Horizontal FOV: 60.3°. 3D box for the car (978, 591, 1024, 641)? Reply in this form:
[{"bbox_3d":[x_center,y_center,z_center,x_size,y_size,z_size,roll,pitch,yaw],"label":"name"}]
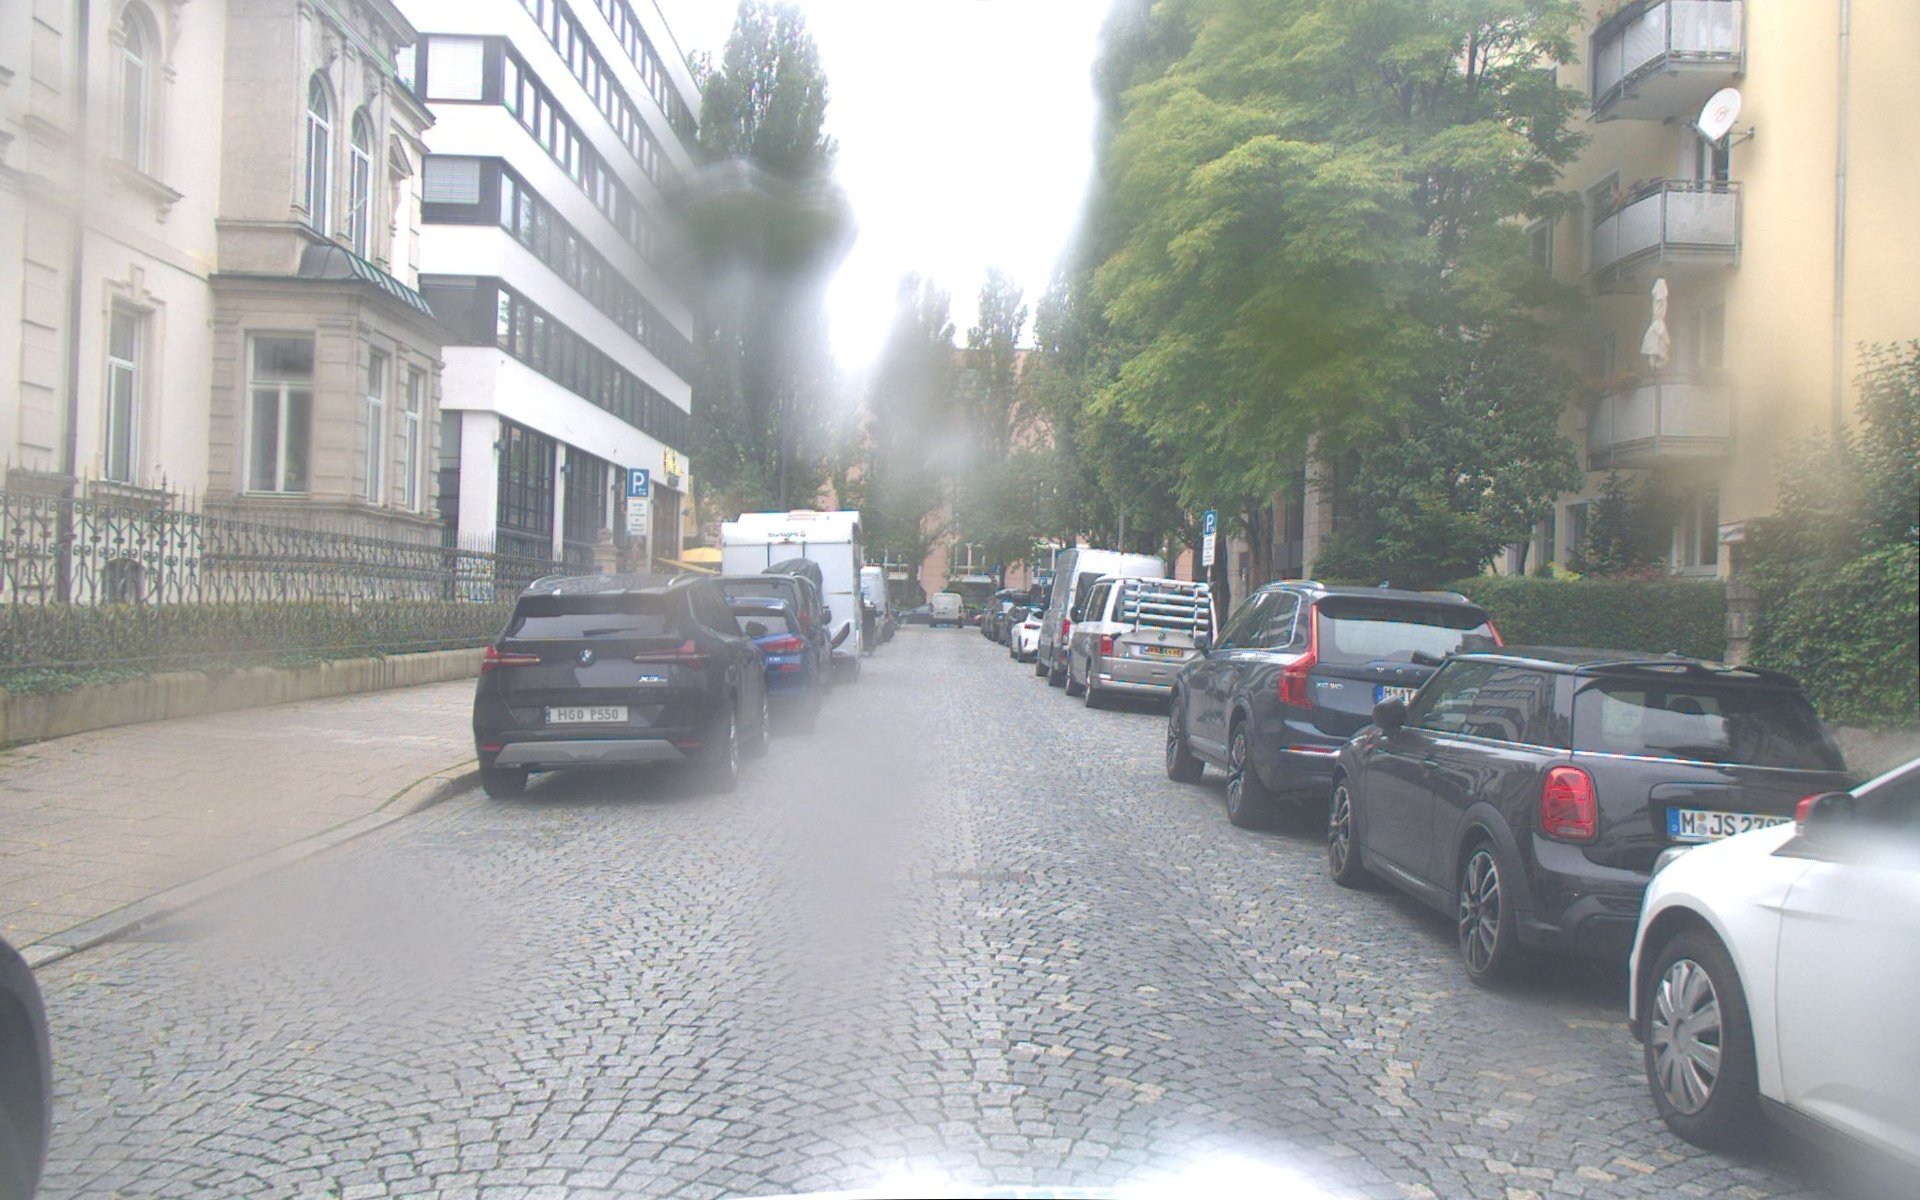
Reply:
[{"bbox_3d":[1.731,0.697,70.769,1.830,1.995,4.000,2,-1,0],"label":"car"}]

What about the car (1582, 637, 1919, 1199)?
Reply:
[{"bbox_3d":[3.168,0.872,3.511,1.739,1.454,4.387,3,-1,-4],"label":"car"}]

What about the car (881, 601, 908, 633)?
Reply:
[{"bbox_3d":[-3.361,0.864,84.978,1.251,1.568,3.118,3,-1,-1],"label":"car"}]

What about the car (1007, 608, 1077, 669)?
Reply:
[{"bbox_3d":[2.155,1.018,44.274,1.567,1.512,3.478,3,-1,-1],"label":"car"}]

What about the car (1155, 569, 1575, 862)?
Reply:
[{"bbox_3d":[2.881,0.770,13.029,1.923,1.789,4.952,3,-1,-1],"label":"car"}]

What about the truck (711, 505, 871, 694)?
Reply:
[{"bbox_3d":[-2.942,-0.010,30.288,2.458,3.085,6.382,0,0,-2],"label":"truck"}]

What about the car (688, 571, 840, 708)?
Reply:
[{"bbox_3d":[-2.761,0.529,24.148,1.856,1.781,4.166,1,0,-3],"label":"car"}]

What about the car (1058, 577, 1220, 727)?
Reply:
[{"bbox_3d":[2.697,0.767,25.981,1.764,1.983,4.858,5,-1,-1],"label":"car"}]

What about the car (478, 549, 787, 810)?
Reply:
[{"bbox_3d":[-2.518,0.583,13.768,1.738,1.748,4.389,3,-1,-2],"label":"car"}]

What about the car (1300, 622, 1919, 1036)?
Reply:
[{"bbox_3d":[3.034,0.913,8.330,1.649,1.478,3.964,4,-1,-1],"label":"car"}]

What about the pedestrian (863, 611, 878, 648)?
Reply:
[{"bbox_3d":[-4.799,1.554,88.596,0.710,1.944,0.641,2,-1,1],"label":"pedestrian"}]

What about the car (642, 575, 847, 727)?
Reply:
[{"bbox_3d":[-2.361,0.550,19.140,1.901,1.485,4.056,3,-1,-2],"label":"car"}]

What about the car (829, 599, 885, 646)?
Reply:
[{"bbox_3d":[-3.426,0.752,55.438,1.628,1.481,3.546,3,-1,-1],"label":"car"}]

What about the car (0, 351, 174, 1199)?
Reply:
[{"bbox_3d":[-2.466,0.461,0.686,1.942,1.768,4.722,3,0,0],"label":"car"}]

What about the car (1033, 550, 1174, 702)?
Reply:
[{"bbox_3d":[2.636,0.443,31.770,1.857,2.468,5.609,6,0,-2],"label":"car"}]

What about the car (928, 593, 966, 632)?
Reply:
[{"bbox_3d":[-0.674,0.701,90.604,1.955,1.970,4.000,2,-1,0],"label":"car"}]

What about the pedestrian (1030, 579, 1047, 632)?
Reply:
[{"bbox_3d":[3.726,0.256,78.606,0.697,2.467,0.813,-2,2,1],"label":"pedestrian"}]

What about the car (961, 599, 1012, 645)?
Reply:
[{"bbox_3d":[0.979,0.829,62.813,1.830,1.633,3.272,2,-1,0],"label":"car"}]

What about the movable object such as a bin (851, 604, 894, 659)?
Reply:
[{"bbox_3d":[-2.319,0.841,44.033,1.042,1.387,1.289,3,-1,-1],"label":"movable object such as a bin"}]

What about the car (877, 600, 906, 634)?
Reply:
[{"bbox_3d":[-3.293,0.812,79.927,1.264,1.566,3.118,3,-1,-1],"label":"car"}]

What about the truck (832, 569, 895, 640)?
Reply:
[{"bbox_3d":[-3.426,0.185,59.385,1.953,2.388,4.067,3,-1,-1],"label":"truck"}]
